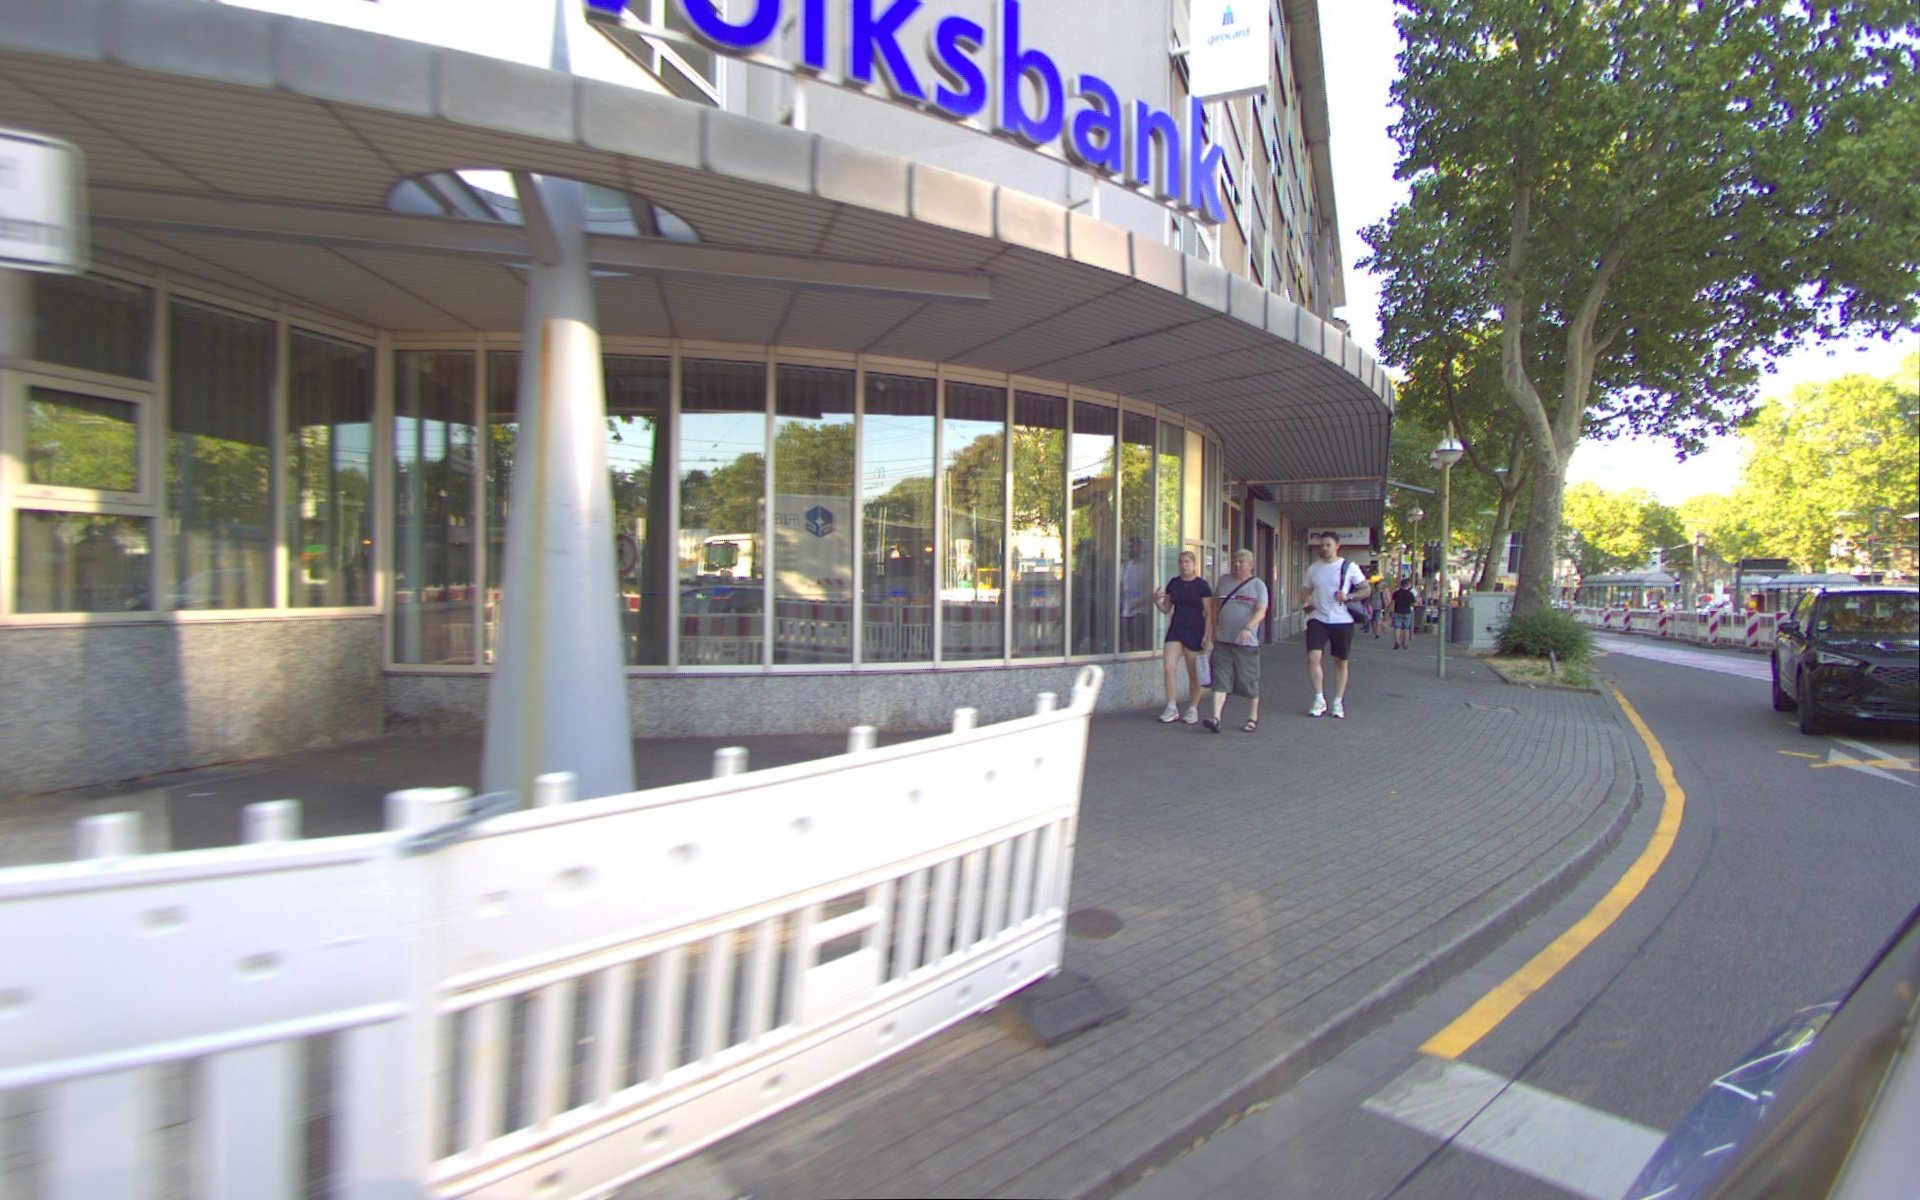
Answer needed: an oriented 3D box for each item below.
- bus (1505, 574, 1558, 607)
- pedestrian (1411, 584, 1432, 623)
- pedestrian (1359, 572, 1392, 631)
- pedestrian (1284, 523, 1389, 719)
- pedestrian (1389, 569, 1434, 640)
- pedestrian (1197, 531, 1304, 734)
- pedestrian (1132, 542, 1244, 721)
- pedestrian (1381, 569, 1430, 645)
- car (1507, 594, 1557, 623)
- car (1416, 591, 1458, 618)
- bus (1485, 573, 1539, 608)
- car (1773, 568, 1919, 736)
[{"bbox_3d":[61.009,-0.943,107.864,2.727,3.248,12.181,-1,-1,40],"label":"bus"},{"bbox_3d":[20.348,0.164,44.653,0.634,1.694,0.556,0,0,-7],"label":"pedestrian"},{"bbox_3d":[12.480,0.045,30.409,0.836,1.694,0.982,3,1,22],"label":"pedestrian"},{"bbox_3d":[3.990,0.196,10.699,0.831,1.892,1.091,6,2,22],"label":"pedestrian"},{"bbox_3d":[11.726,0.108,26.307,0.892,1.718,1.062,5,2,22],"label":"pedestrian"},{"bbox_3d":[2.626,0.274,9.144,0.583,1.729,0.668,5,2,43],"label":"pedestrian"},{"bbox_3d":[2.165,0.278,9.606,0.633,1.592,0.762,6,3,43],"label":"pedestrian"},{"bbox_3d":[10.699,0.153,24.343,0.892,1.731,1.062,5,2,22],"label":"pedestrian"},{"bbox_3d":[32.733,0.519,57.990,1.978,1.605,4.581,0,-1,24],"label":"car"},{"bbox_3d":[30.622,0.275,65.092,1.900,1.617,4.760,2,1,20],"label":"car"},{"bbox_3d":[54.684,-0.883,100.053,2.725,3.248,12.137,-1,-1,38],"label":"bus"},{"bbox_3d":[10.855,0.503,11.659,1.987,1.668,4.152,-1,0,35],"label":"car"}]
